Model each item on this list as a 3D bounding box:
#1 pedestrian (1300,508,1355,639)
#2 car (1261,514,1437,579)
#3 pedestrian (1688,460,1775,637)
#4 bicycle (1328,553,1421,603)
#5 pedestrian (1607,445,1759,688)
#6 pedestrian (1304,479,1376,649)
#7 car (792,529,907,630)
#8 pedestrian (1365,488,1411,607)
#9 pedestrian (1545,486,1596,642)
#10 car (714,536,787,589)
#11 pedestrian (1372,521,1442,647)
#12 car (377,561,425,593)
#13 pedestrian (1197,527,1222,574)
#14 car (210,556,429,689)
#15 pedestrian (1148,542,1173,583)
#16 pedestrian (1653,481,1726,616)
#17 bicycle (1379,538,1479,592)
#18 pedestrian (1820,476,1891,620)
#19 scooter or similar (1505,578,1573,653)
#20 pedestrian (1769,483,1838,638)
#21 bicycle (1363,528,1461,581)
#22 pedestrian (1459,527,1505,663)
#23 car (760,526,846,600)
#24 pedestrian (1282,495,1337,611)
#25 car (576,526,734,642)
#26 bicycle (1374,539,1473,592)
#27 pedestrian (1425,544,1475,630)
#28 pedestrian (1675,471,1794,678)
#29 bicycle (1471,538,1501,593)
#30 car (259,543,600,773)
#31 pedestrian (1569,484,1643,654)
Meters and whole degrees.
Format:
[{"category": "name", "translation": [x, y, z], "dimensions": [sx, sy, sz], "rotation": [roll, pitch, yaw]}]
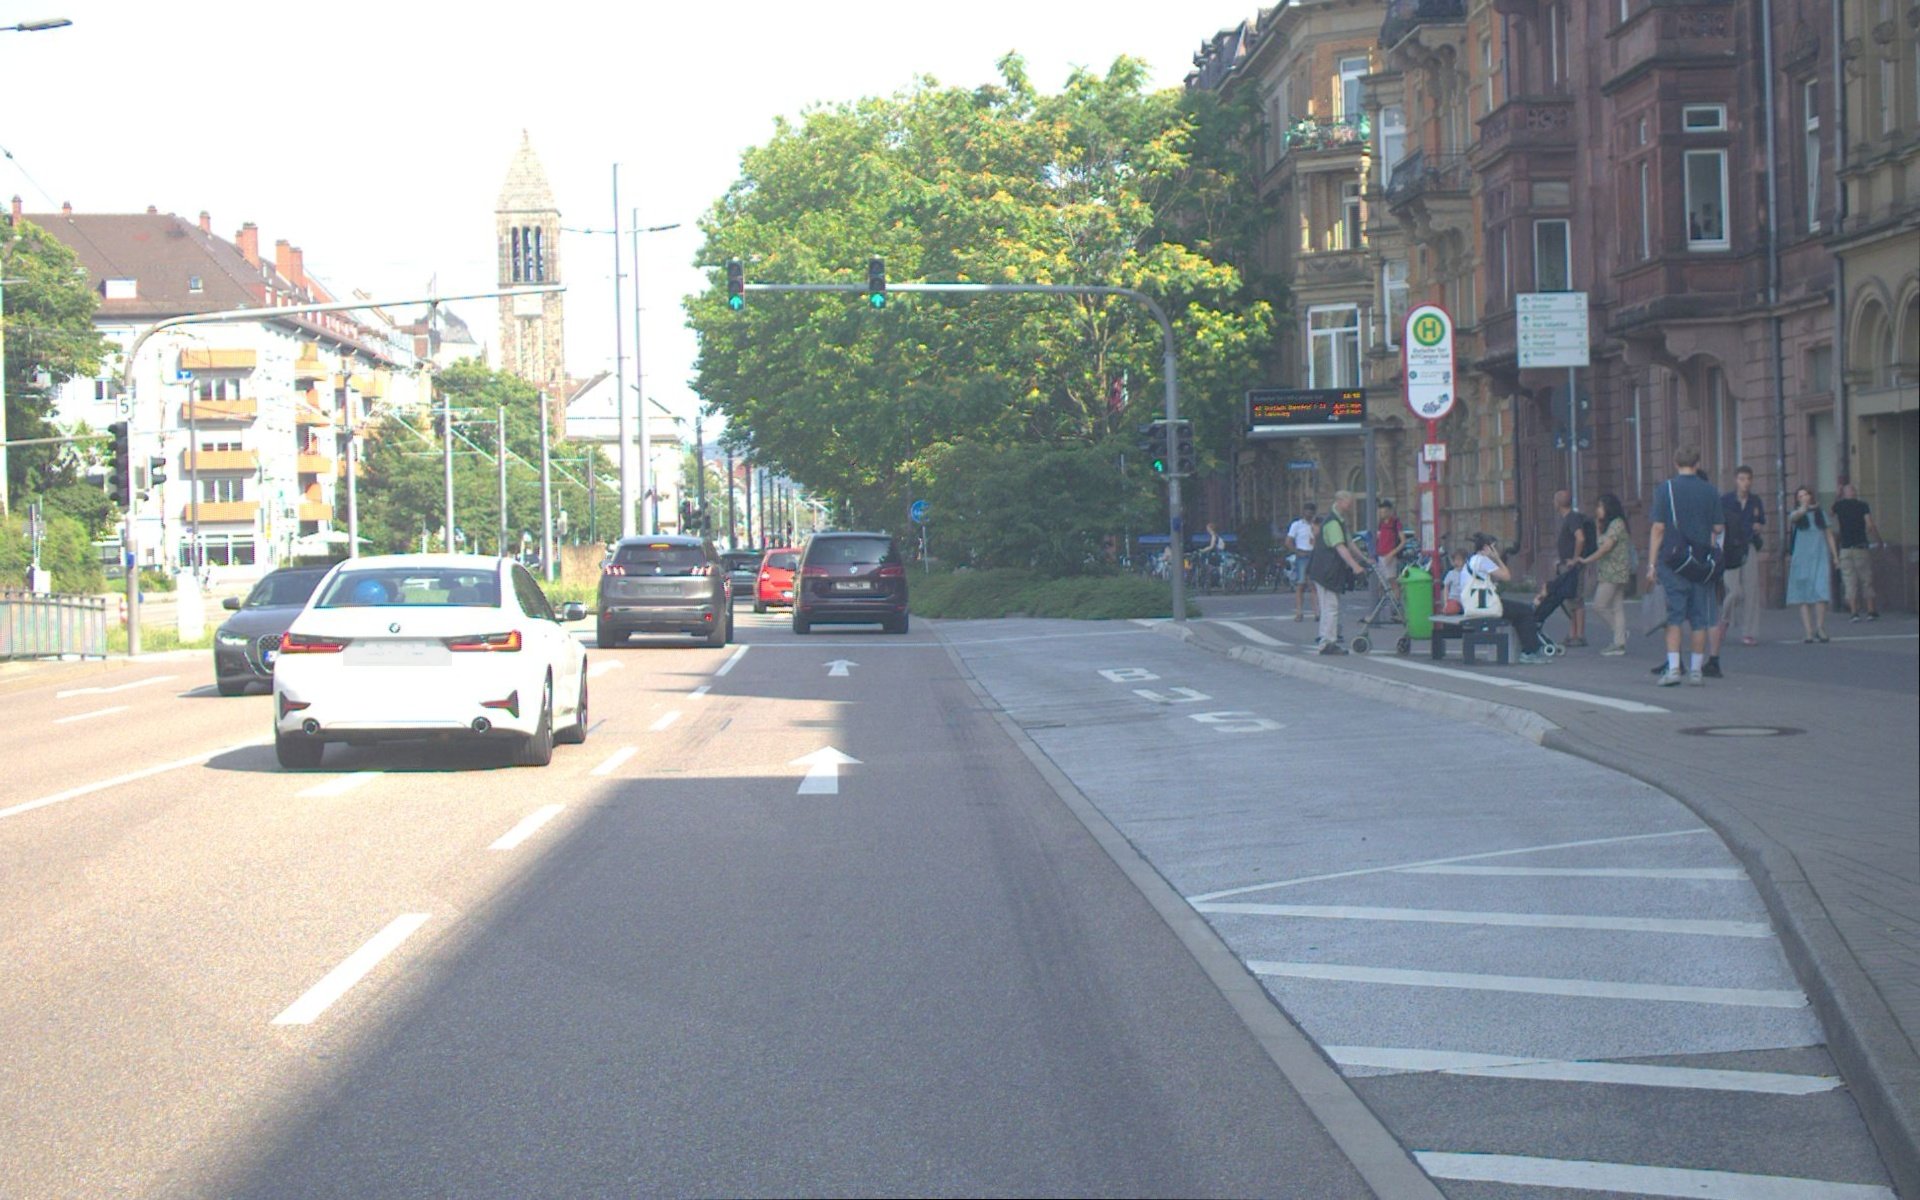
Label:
[{"category": "pedestrian", "translation": [4.583, -0.333, 42.917], "dimensions": [0.528, 1.606, 0.703], "rotation": [-2, 1, -5]}, {"category": "car", "translation": [10.067, -1.394, 89.181], "dimensions": [4.179, 1.558, 2.000], "rotation": [-2, 1, -5]}, {"category": "pedestrian", "translation": [8.048, -0.539, 35.887], "dimensions": [0.617, 1.798, 1.071], "rotation": [-1, 1, 0]}, {"category": "bicycle", "translation": [9.065, -0.484, 75.267], "dimensions": [1.927, 1.044, 0.527], "rotation": [-2, 1, -7]}, {"category": "pedestrian", "translation": [5.599, -0.265, 26.643], "dimensions": [0.925, 1.825, 0.801], "rotation": [-2, 1, -4]}, {"category": "pedestrian", "translation": [3.922, -0.377, 35.523], "dimensions": [0.565, 1.723, 0.745], "rotation": [-2, 1, -5]}, {"category": "car", "translation": [-1.813, -0.368, 57.263], "dimensions": [1.831, 1.615, 4.357], "rotation": [0, 1, -1]}, {"category": "pedestrian", "translation": [6.174, -0.762, 49.607], "dimensions": [0.481, 1.696, 0.703], "rotation": [-2, 1, -5]}, {"category": "pedestrian", "translation": [6.844, -0.409, 38.559], "dimensions": [0.341, 1.726, 0.806], "rotation": [-2, 1, -5]}, {"category": "car", "translation": [-5.840, -1.063, 96.352], "dimensions": [1.864, 1.419, 4.357], "rotation": [0, 1, -1]}, {"category": "pedestrian", "translation": [4.610, -0.170, 35.477], "dimensions": [0.565, 1.273, 0.597], "rotation": [-2, 1, -5]}, {"category": "car", "translation": [-28.294, -1.186, 174.065], "dimensions": [1.993, 1.495, 4.001], "rotation": [-2, 1, -3]}, {"category": "pedestrian", "translation": [6.727, -1.344, 92.754], "dimensions": [0.597, 1.244, 0.507], "rotation": [-2, 1, -2]}, {"category": "car", "translation": [-7.234, 0.213, 39.207], "dimensions": [1.713, 1.326, 4.521], "rotation": [-3, 1, -2]}, {"category": "pedestrian", "translation": [5.298, -0.983, 90.866], "dimensions": [0.443, 1.067, 0.487], "rotation": [-2, 1, -32]}, {"category": "pedestrian", "translation": [9.480, -0.670, 44.725], "dimensions": [0.701, 1.718, 0.897], "rotation": [-2, 1, -1]}, {"category": "bicycle", "translation": [9.537, -0.707, 69.879], "dimensions": [1.927, 1.044, 0.500], "rotation": [-2, 1, -7]}, {"category": "pedestrian", "translation": [10.804, -0.629, 41.485], "dimensions": [0.629, 1.713, 0.691], "rotation": [-2, 1, -1]}, {"category": "scooter or similar", "translation": [5.942, 0.157, 35.321], "dimensions": [0.565, 0.739, 0.514], "rotation": [-2, 1, -4]}, {"category": "pedestrian", "translation": [8.886, -0.416, 36.229], "dimensions": [0.486, 1.605, 0.813], "rotation": [-1, 1, 0]}, {"category": "bicycle", "translation": [9.371, -0.953, 71.237], "dimensions": [1.927, 1.044, 0.500], "rotation": [-2, 1, -7]}, {"category": "pedestrian", "translation": [4.934, -0.052, 32.507], "dimensions": [0.275, 1.270, 0.448], "rotation": [-2, 1, -8]}, {"category": "car", "translation": [-3.511, -0.863, 77.443], "dimensions": [1.831, 1.615, 4.357], "rotation": [0, 1, -1]}, {"category": "pedestrian", "translation": [5.083, -0.679, 50.002], "dimensions": [0.690, 1.658, 0.619], "rotation": [-1, 1, -1]}, {"category": "car", "translation": [-4.413, -0.271, 50.272], "dimensions": [1.993, 1.615, 4.357], "rotation": [0, 1, -1]}, {"category": "bicycle", "translation": [9.522, -0.709, 70.612], "dimensions": [1.927, 1.044, 0.500], "rotation": [-2, 1, -7]}, {"category": "pedestrian", "translation": [4.762, -0.127, 33.435], "dimensions": [0.303, 0.817, 0.604], "rotation": [-2, 1, -9]}, {"category": "pedestrian", "translation": [6.630, -0.223, 29.450], "dimensions": [0.749, 1.723, 0.801], "rotation": [-2, 1, -4]}, {"category": "bicycle", "translation": [10.401, -0.691, 68.052], "dimensions": [0.416, 1.044, 1.670], "rotation": [-1, 1, 4]}, {"category": "car", "translation": [-3.662, 0.334, 24.486], "dimensions": [1.809, 1.422, 4.775], "rotation": [1, 1, -2]}, {"category": "pedestrian", "translation": [6.644, -0.319, 35.381], "dimensions": [0.565, 1.723, 0.617], "rotation": [-2, 1, -4]}]
